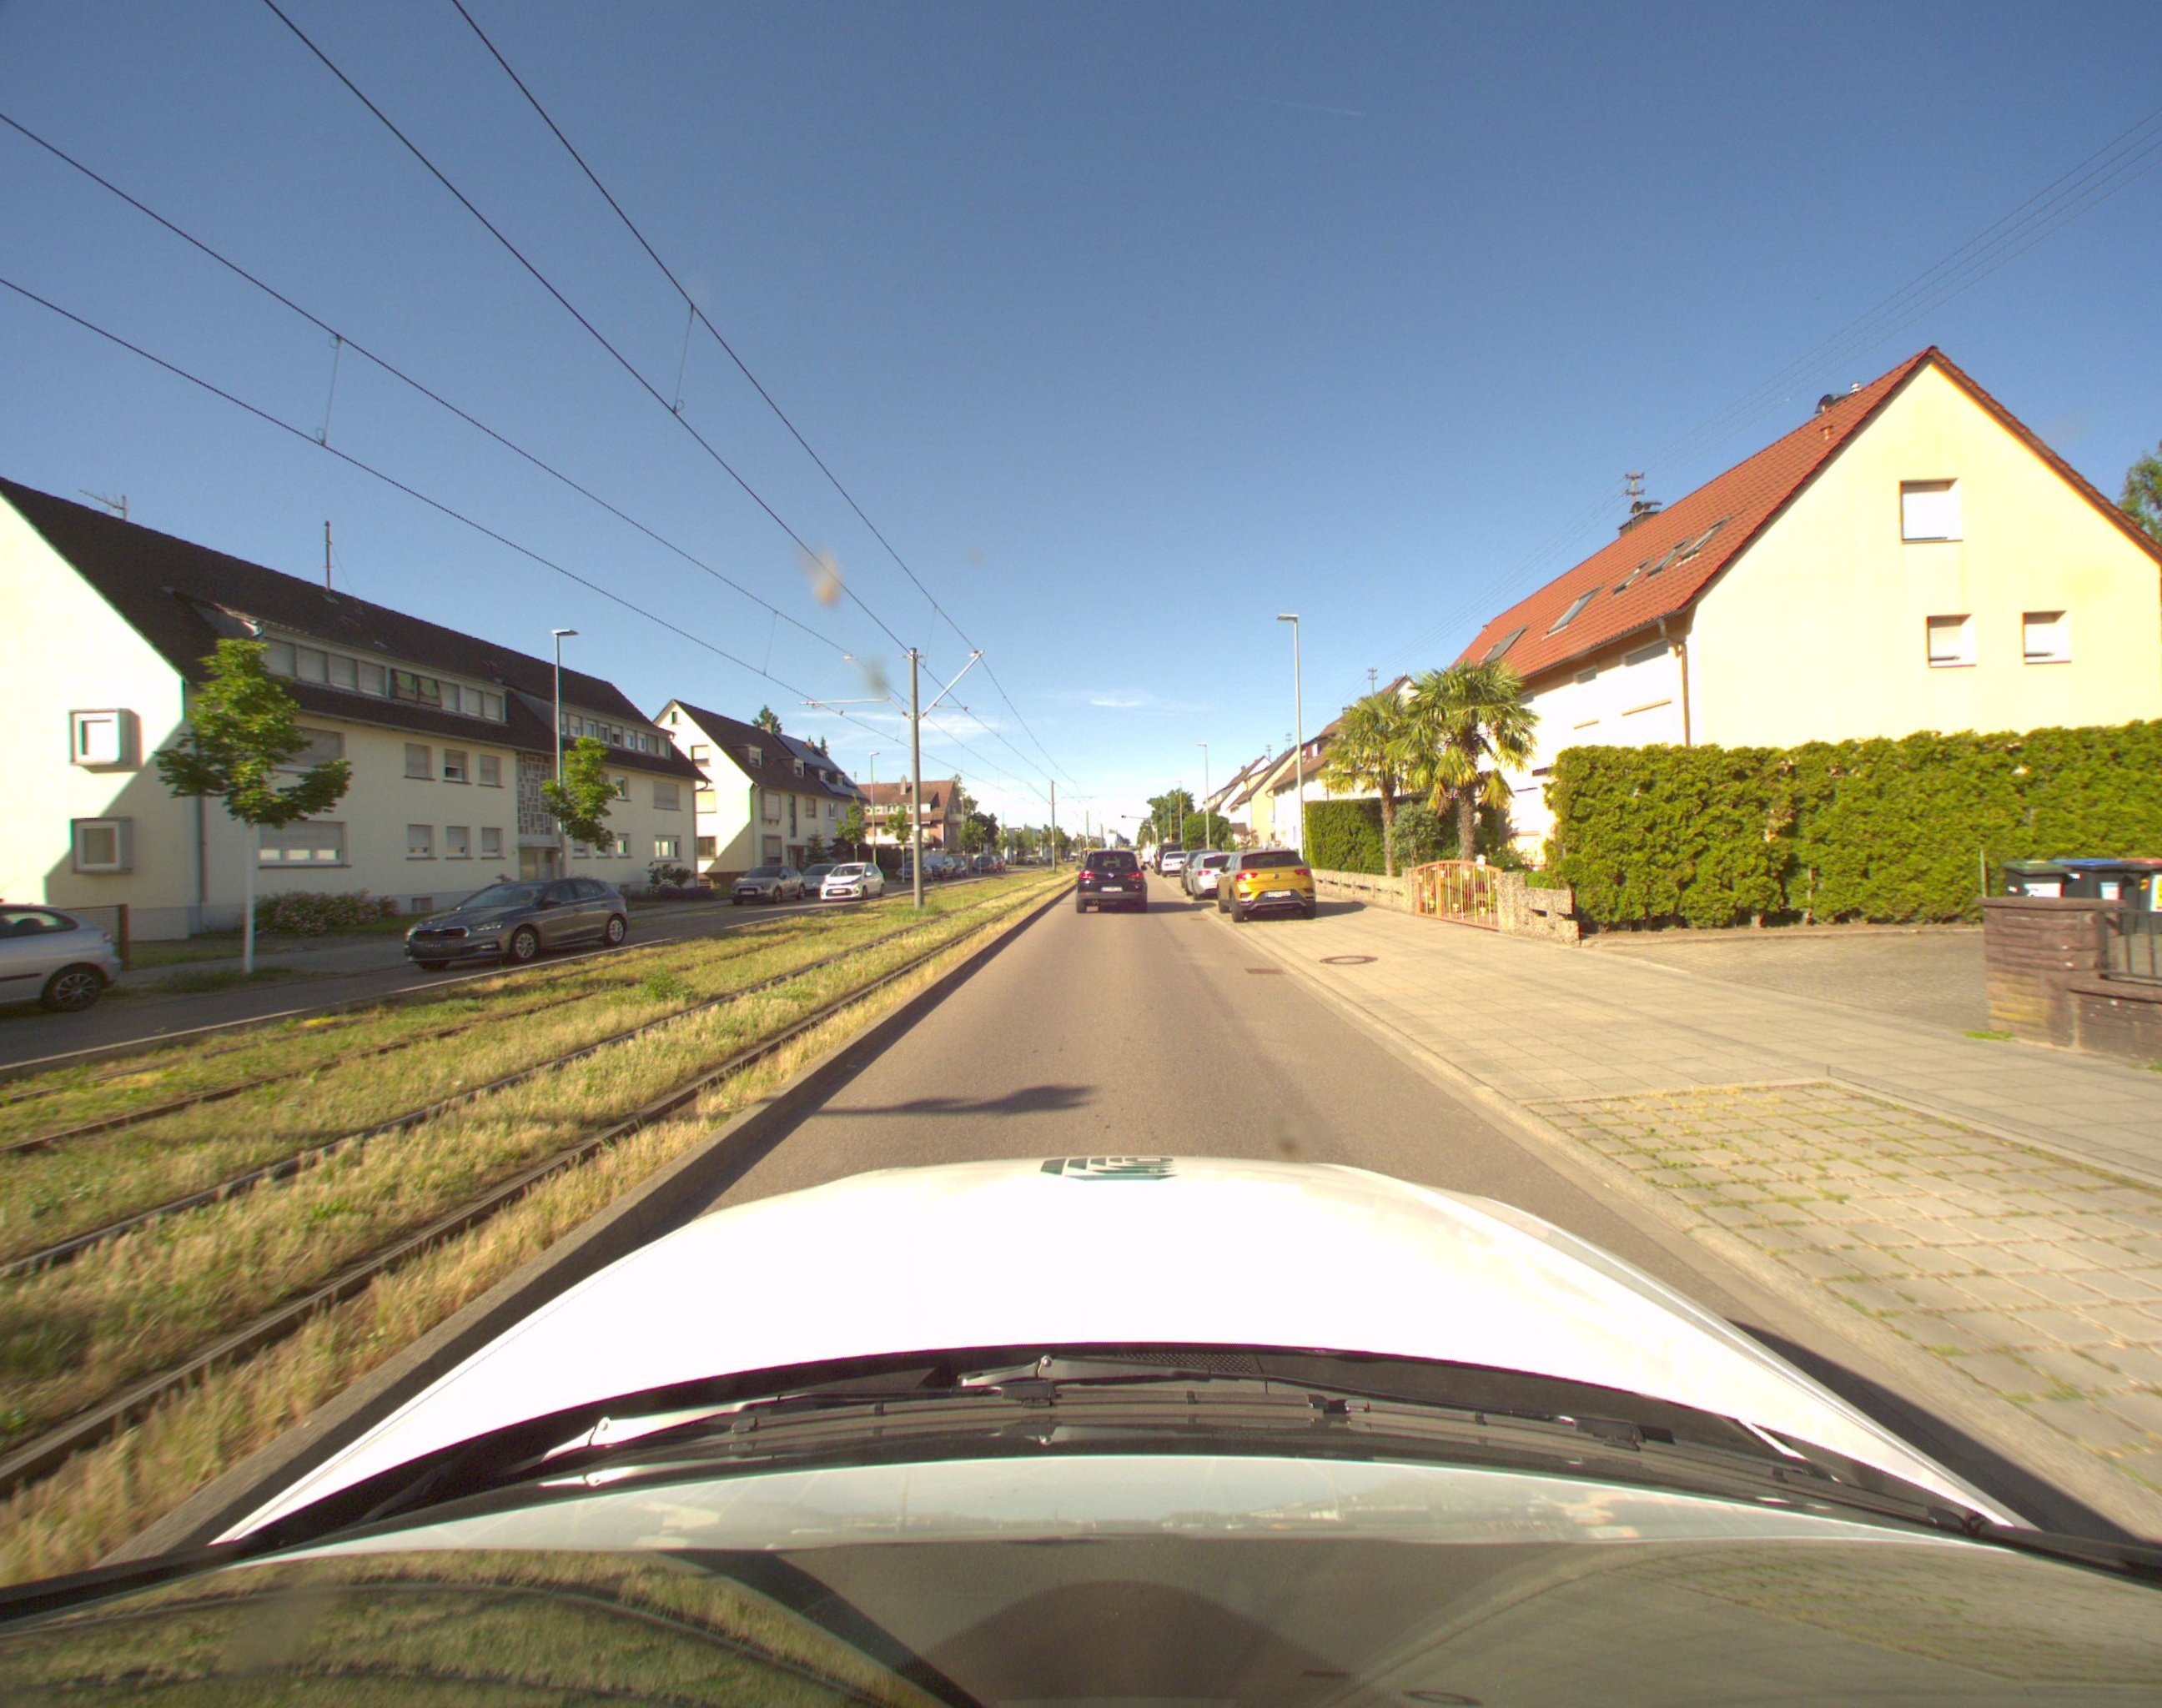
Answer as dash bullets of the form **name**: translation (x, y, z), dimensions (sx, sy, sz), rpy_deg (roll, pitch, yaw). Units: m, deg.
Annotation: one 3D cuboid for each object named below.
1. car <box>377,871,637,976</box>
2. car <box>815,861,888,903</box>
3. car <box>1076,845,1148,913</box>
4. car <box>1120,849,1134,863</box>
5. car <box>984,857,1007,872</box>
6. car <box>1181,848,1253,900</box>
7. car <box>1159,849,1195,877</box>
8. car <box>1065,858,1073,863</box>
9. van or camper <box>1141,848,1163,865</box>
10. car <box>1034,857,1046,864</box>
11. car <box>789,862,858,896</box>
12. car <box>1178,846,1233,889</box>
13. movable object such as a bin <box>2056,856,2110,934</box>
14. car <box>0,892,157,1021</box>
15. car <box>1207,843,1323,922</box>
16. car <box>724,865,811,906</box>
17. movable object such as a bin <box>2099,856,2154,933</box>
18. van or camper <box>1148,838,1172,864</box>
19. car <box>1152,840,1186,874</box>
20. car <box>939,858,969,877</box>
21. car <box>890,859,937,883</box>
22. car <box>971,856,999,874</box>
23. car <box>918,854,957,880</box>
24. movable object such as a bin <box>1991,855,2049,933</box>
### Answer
- **car**: translation (-10.205, 1.144, 14.936), dimensions (1.682, 1.475, 4.084), rpy_deg (-5, -1, 2)
- **car**: translation (-9.002, 1.060, 32.185), dimensions (1.682, 1.475, 3.681), rpy_deg (-3, -1, 2)
- **car**: translation (0.829, 0.642, 22.179), dimensions (1.769, 1.670, 4.001), rpy_deg (0, 0, 2)
- **car**: translation (6.348, 0.307, 113.277), dimensions (1.623, 1.828, 4.129), rpy_deg (-2, 0, -1)
- **car**: translation (-8.932, 1.106, 85.499), dimensions (1.687, 1.405, 4.083), rpy_deg (-2, 0, 4)
- **car**: translation (4.350, 0.581, 26.680), dimensions (1.741, 1.447, 4.702), rpy_deg (-3, 1, 2)
- **car**: translation (5.739, 0.497, 49.253), dimensions (1.844, 1.443, 5.620), rpy_deg (-4, 0, 5)
- **car**: translation (-3.382, 1.906, 228.598), dimensions (1.680, 1.389, 4.394), rpy_deg (-3, -1, 5)
- **van or camper**: translation (8.694, 0.299, 98.998), dimensions (2.014, 1.956, 5.312), rpy_deg (-2, 0, 12)
- **car**: translation (-8.326, 1.380, 165.607), dimensions (1.800, 1.461, 4.327), rpy_deg (0, 0, 8)
- **car**: translation (-12.025, 1.120, 38.346), dimensions (1.682, 1.475, 4.444), rpy_deg (0, 0, 2)
- **car**: translation (4.835, 0.477, 32.172), dimensions (1.769, 1.498, 4.733), rpy_deg (-2, 0, 4)
- **movable object such as a bin**: translation (12.125, 0.487, 9.855), dimensions (0.240, 0.925, 0.336), rpy_deg (0, -1, -13)
- **car**: translation (-13.516, 1.254, 9.075), dimensions (1.652, 1.436, 4.105), rpy_deg (-1, 0, 2)
- **car**: translation (4.185, 0.600, 19.288), dimensions (1.798, 1.559, 4.930), rpy_deg (-3, 0, 3)
- **car**: translation (-12.332, 1.198, 32.351), dimensions (1.682, 1.473, 4.316), rpy_deg (0, 0, 2)
- **movable object such as a bin**: translation (12.718, 0.485, 9.908), dimensions (0.335, 0.925, 0.241), rpy_deg (0, -1, 2)
- **van or camper**: translation (7.578, -0.223, 78.401), dimensions (1.985, 2.271, 6.311), rpy_deg (-3, -1, 4)
- **car**: translation (5.998, 0.189, 55.877), dimensions (1.951, 2.144, 5.340), rpy_deg (-3, 0, 3)
- **car**: translation (-10.354, 1.100, 66.571), dimensions (1.670, 1.491, 4.051), rpy_deg (0, 0, 1)
- **car**: translation (-11.168, 1.121, 54.476), dimensions (1.952, 1.540, 4.561), rpy_deg (0, 0, 3)
- **car**: translation (-9.338, 1.065, 79.451), dimensions (1.811, 1.684, 4.851), rpy_deg (0, 0, 4)
- **car**: translation (-10.643, 0.928, 60.590), dimensions (1.737, 1.823, 4.846), rpy_deg (0, 0, 4)
- **movable object such as a bin**: translation (11.685, 0.489, 10.139), dimensions (0.239, 0.950, 0.406), rpy_deg (0, -1, -1)
